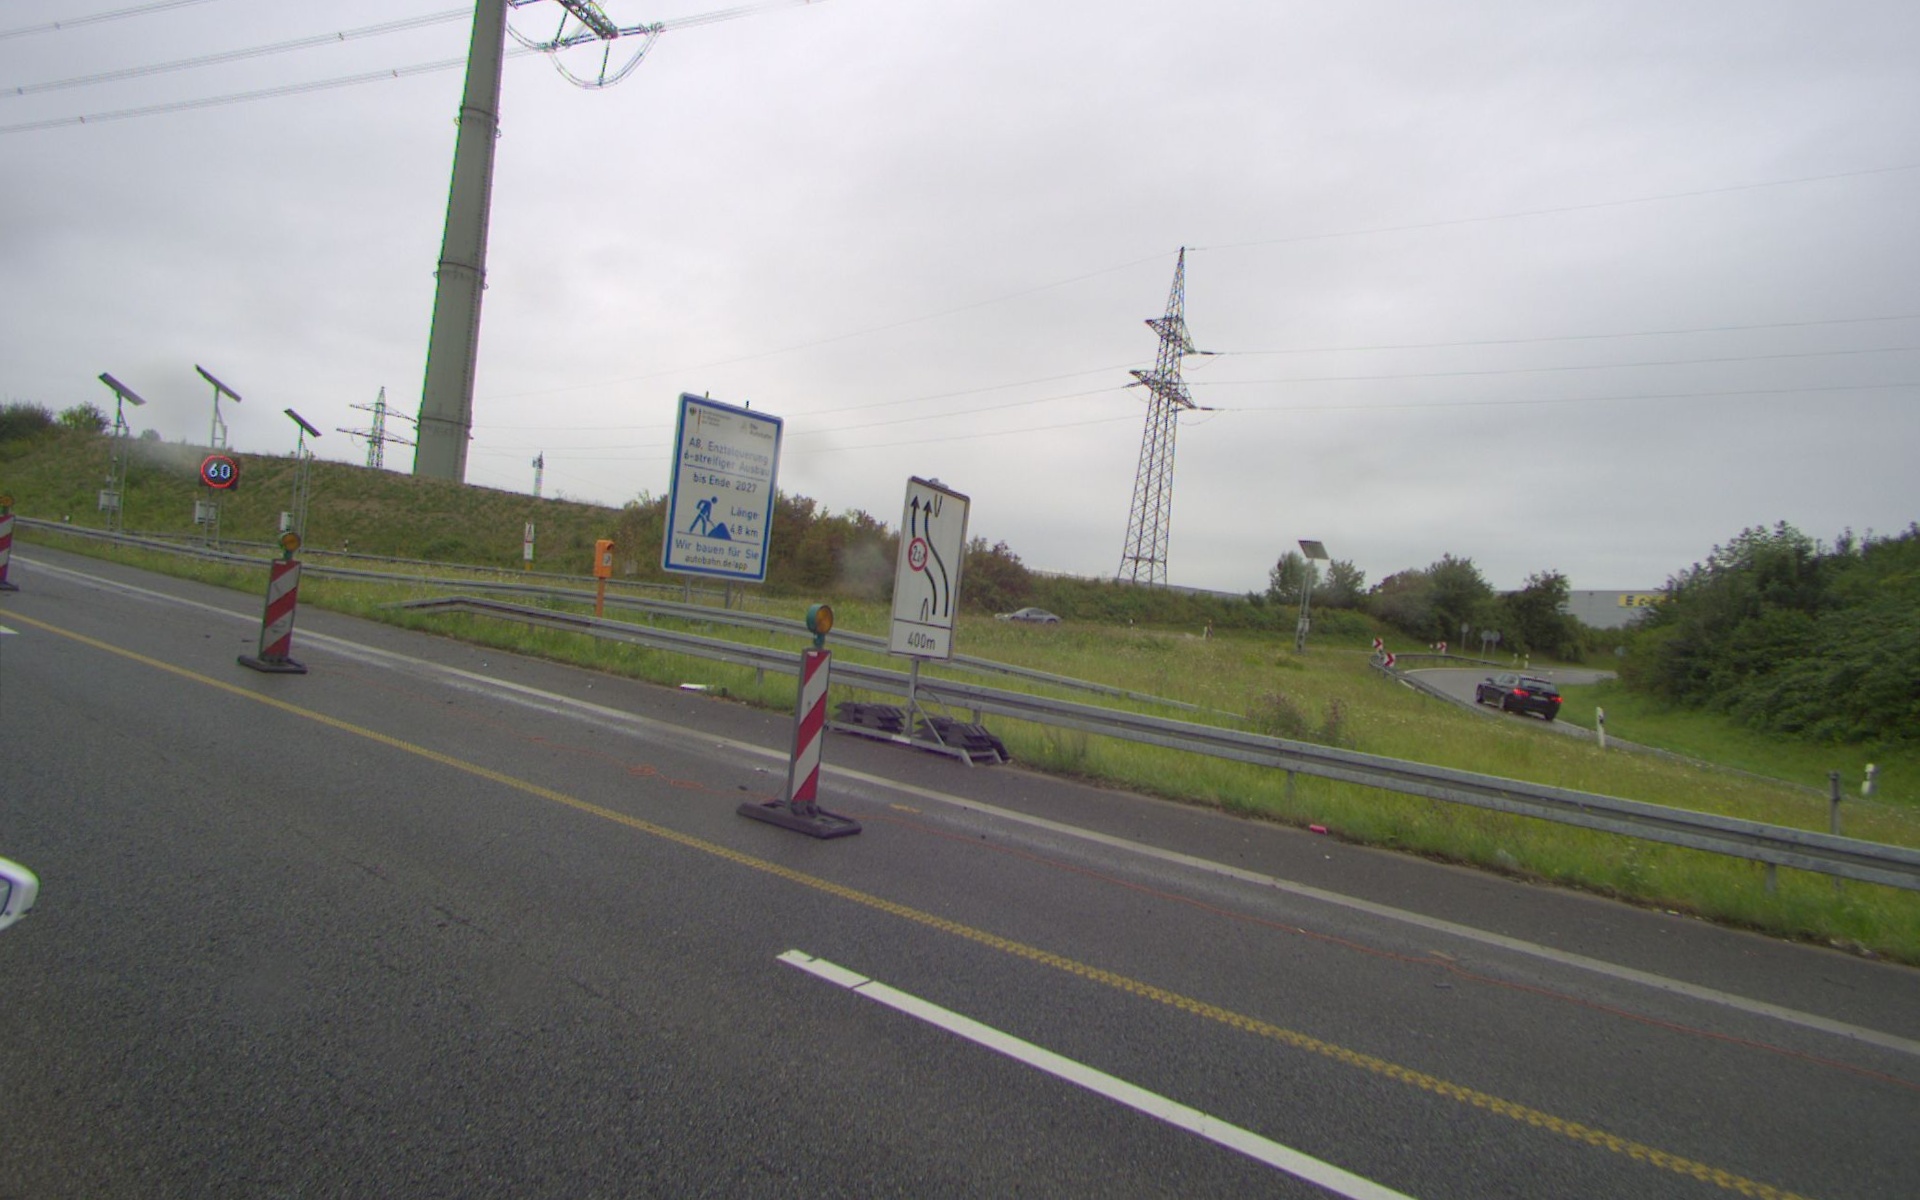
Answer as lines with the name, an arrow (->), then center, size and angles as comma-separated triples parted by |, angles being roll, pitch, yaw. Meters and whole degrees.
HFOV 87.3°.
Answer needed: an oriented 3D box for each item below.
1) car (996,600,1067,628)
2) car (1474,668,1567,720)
car -> 4.247, 0.815, 59.635 | 3.853, 1.175, 1.480 | 7, 0, -22
car -> 21.338, 3.525, 38.511 | 1.962, 1.466, 4.595 | 7, 0, 16
